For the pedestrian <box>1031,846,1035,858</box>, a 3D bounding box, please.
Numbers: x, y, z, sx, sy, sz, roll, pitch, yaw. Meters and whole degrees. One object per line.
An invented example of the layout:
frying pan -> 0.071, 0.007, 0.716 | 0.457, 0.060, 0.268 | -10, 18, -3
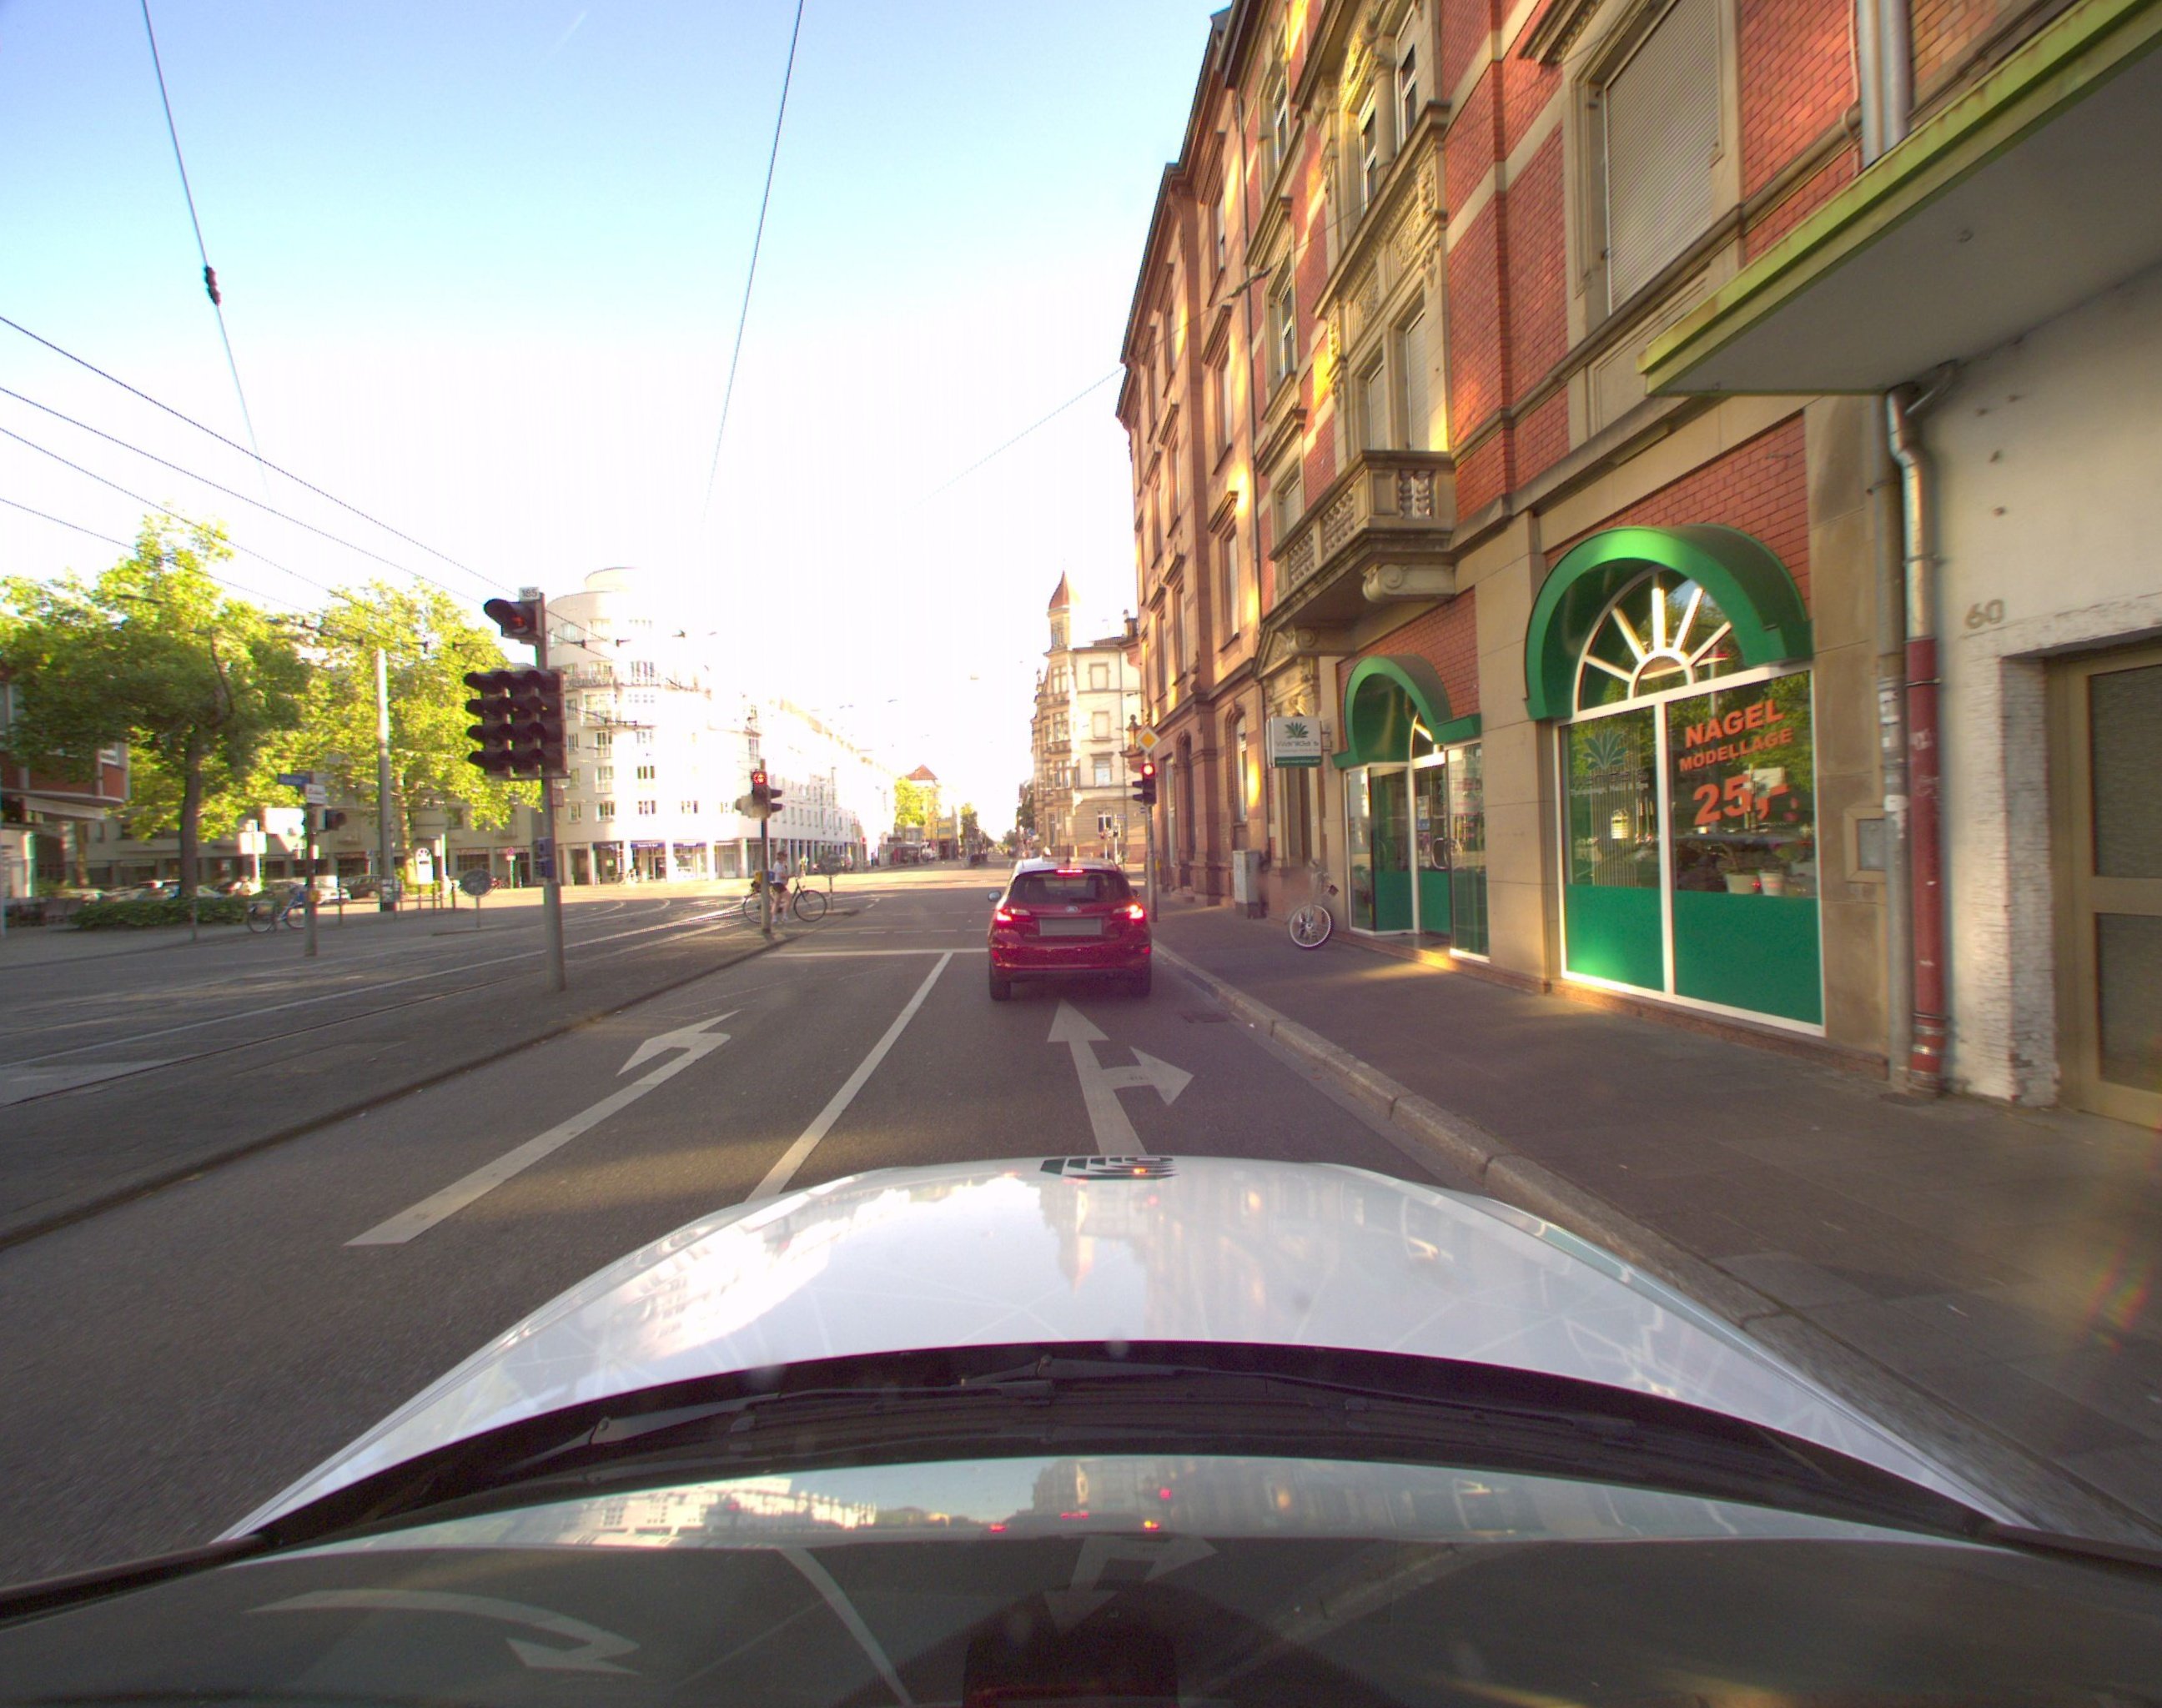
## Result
pedestrian -> -8.095, -0.328, 138.004 | 0.575, 2.013, 0.631 | -2, 0, 1

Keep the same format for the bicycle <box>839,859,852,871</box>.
bicycle -> -22.975, 1.067, 79.486 | 0.806, 1.147, 2.007 | -2, 0, -5

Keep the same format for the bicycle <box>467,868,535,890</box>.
bicycle -> -47.593, 2.051, 66.885 | 4.691, 1.530, 1.066 | -2, 0, -2

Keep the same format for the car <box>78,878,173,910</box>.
car -> -67.495, 2.774, 57.630 | 1.989, 1.964, 3.996 | -2, 0, -3

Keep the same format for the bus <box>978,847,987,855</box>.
bus -> -26.619, -0.930, 219.753 | 1.921, 2.013, 7.128 | -2, 0, -3

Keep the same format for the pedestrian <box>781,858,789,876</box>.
pedestrian -> -27.373, 1.185, 75.306 | 0.524, 1.681, 0.484 | -2, 0, -12

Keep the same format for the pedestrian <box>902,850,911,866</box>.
pedestrian -> -23.090, 0.503, 107.566 | 1.044, 2.013, 0.957 | -2, 0, -7

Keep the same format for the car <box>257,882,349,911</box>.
car -> -39.886, 2.183, 41.777 | 3.971, 1.295, 1.780 | -2, 1, 20

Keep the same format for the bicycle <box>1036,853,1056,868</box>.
bicycle -> -2.638, 0.518, 61.882 | 1.467, 1.089, 0.531 | -2, 0, 35

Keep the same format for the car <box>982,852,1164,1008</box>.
car -> -0.288, 0.719, 9.826 | 1.752, 1.466, 3.936 | -1, 0, -7

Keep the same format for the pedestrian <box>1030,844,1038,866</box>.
pedestrian -> -4.366, 0.108, 75.030 | 0.650, 2.013, 0.758 | -2, 0, -6

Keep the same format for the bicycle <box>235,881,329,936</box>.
bicycle -> -21.254, 1.432, 21.725 | 0.669, 1.327, 1.904 | 1, 0, -2

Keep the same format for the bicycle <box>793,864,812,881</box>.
bicycle -> -21.040, 1.395, 61.604 | 0.806, 1.147, 2.046 | -2, 0, -5

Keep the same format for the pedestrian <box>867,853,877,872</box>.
pedestrian -> -19.444, 0.809, 75.895 | 0.767, 1.730, 0.572 | -2, 0, -3

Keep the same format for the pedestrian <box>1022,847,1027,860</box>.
pedestrian -> -9.085, -0.132, 130.489 | 0.575, 2.013, 0.631 | -2, 0, 1

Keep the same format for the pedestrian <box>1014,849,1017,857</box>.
pedestrian -> -16.350, -0.199, 203.748 | 0.576, 1.887, 0.630 | -2, 0, -5

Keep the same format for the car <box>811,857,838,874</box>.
car -> -25.930, 1.135, 82.393 | 1.762, 1.546, 3.456 | -2, 0, -4

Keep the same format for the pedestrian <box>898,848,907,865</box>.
pedestrian -> -22.734, 0.312, 103.652 | 0.954, 2.013, 1.047 | -2, 0, -5

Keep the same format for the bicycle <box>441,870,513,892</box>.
bicycle -> -47.560, 2.132, 64.195 | 4.691, 1.530, 1.066 | -2, 0, -2

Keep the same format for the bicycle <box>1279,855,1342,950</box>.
bicycle -> 3.178, 0.639, 11.410 | 0.710, 1.152, 1.661 | -4, 0, 13

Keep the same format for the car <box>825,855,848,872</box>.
car -> -26.982, 1.026, 89.838 | 1.699, 1.718, 3.557 | -2, 0, -5

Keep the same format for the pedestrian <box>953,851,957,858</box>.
pedestrian -> -30.861, 0.194, 199.226 | 0.631, 1.604, 0.575 | -2, 0, -22

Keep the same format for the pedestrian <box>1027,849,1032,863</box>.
pedestrian -> -7.333, 0.294, 116.985 | 0.645, 2.013, 0.682 | -2, 0, -5

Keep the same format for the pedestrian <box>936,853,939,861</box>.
pedestrian -> -29.992, 0.633, 169.995 | 0.523, 1.488, 0.582 | -2, 0, -3

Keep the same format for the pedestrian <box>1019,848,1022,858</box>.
pedestrian -> -12.829, -0.237, 173.404 | 0.576, 2.013, 0.630 | -2, 0, -5

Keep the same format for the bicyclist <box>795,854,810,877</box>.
bicyclist -> -21.064, 0.854, 61.643 | 0.806, 1.726, 0.793 | -2, 0, -6

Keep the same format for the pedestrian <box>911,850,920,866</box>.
pedestrian -> -21.509, 0.475, 105.867 | 1.044, 2.013, 0.957 | -2, 0, -7

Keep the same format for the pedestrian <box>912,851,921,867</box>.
pedestrian -> -21.864, 0.648, 108.381 | 1.044, 2.013, 0.957 | -2, 0, -7

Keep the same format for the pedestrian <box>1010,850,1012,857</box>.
pedestrian -> -17.887, -0.111, 208.054 | 0.576, 1.887, 0.668 | -2, 0, -5

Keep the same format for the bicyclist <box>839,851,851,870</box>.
bicyclist -> -22.970, 0.642, 79.214 | 0.806, 1.821, 0.992 | -2, 0, -5

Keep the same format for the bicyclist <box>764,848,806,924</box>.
bicyclist -> -6.461, 0.684, 17.809 | 0.730, 1.627, 0.763 | -1, 0, -10

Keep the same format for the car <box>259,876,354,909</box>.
car -> -43.499, 2.152, 45.759 | 3.982, 1.559, 1.634 | -3, 1, 7

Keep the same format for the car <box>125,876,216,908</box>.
car -> -64.581, 2.673, 57.852 | 1.989, 1.964, 3.996 | -2, 0, -3

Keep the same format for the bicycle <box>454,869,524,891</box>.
bicycle -> -47.481, 2.045, 65.339 | 4.691, 1.530, 1.066 | -2, 0, -2

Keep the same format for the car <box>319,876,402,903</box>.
car -> -48.049, 2.348, 54.333 | 3.974, 1.531, 1.616 | -2, 1, -1

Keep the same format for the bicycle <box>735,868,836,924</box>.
bicycle -> -6.520, 0.917, 18.062 | 2.019, 1.177, 0.626 | -1, 0, -11

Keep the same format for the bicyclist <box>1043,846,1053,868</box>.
bicyclist -> -2.494, 0.214, 61.777 | 0.538, 1.676, 0.504 | -2, 0, 35
